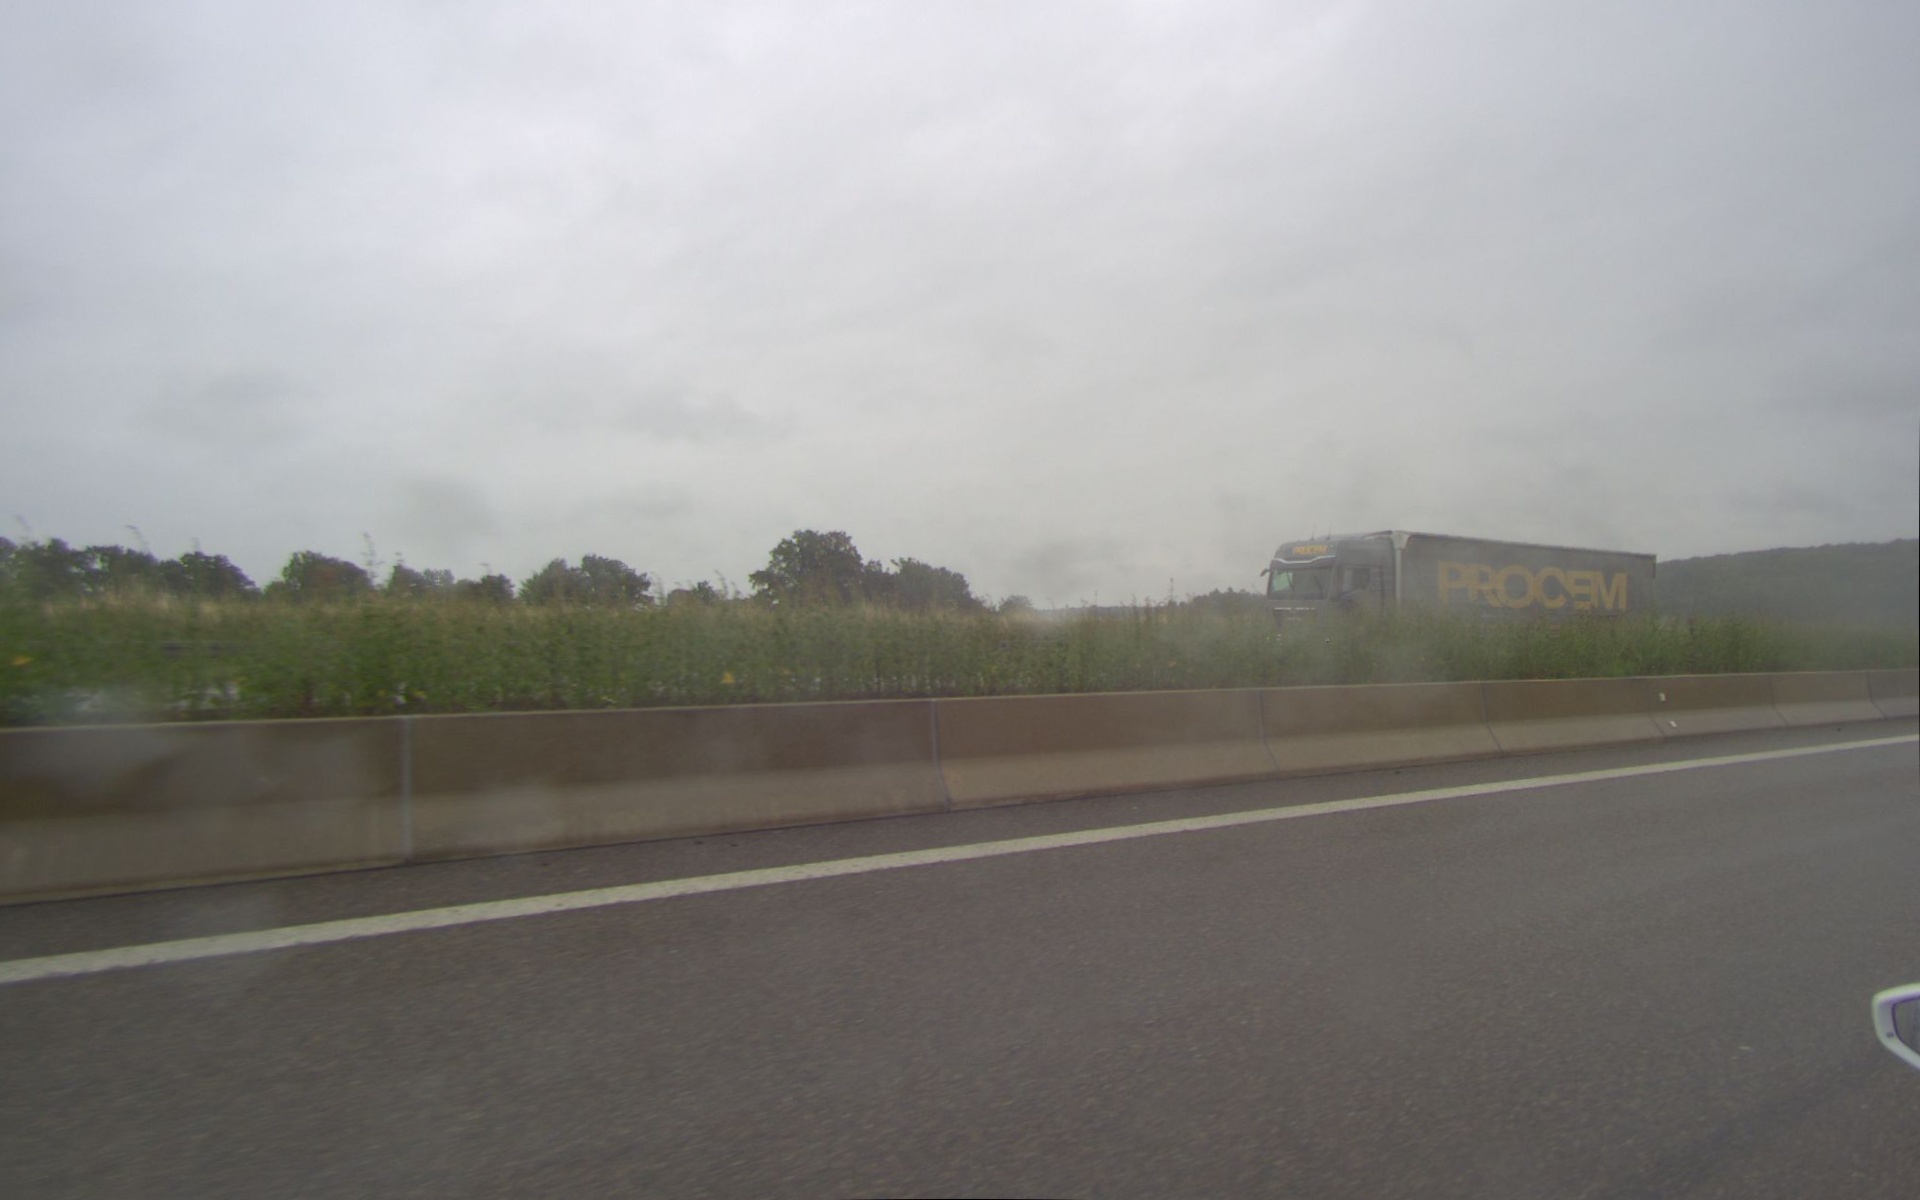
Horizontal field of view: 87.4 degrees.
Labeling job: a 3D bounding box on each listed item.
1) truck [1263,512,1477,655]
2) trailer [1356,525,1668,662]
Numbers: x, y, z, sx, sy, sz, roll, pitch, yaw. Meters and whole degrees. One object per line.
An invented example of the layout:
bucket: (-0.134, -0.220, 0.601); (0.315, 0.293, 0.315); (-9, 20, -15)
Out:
truck: (11.850, -0.373, 29.013); (5.399, 3.669, 2.936); (3, -1, -30)
trailer: (18.342, -0.008, 32.849); (12.346, 3.687, 2.978); (3, -1, -30)
